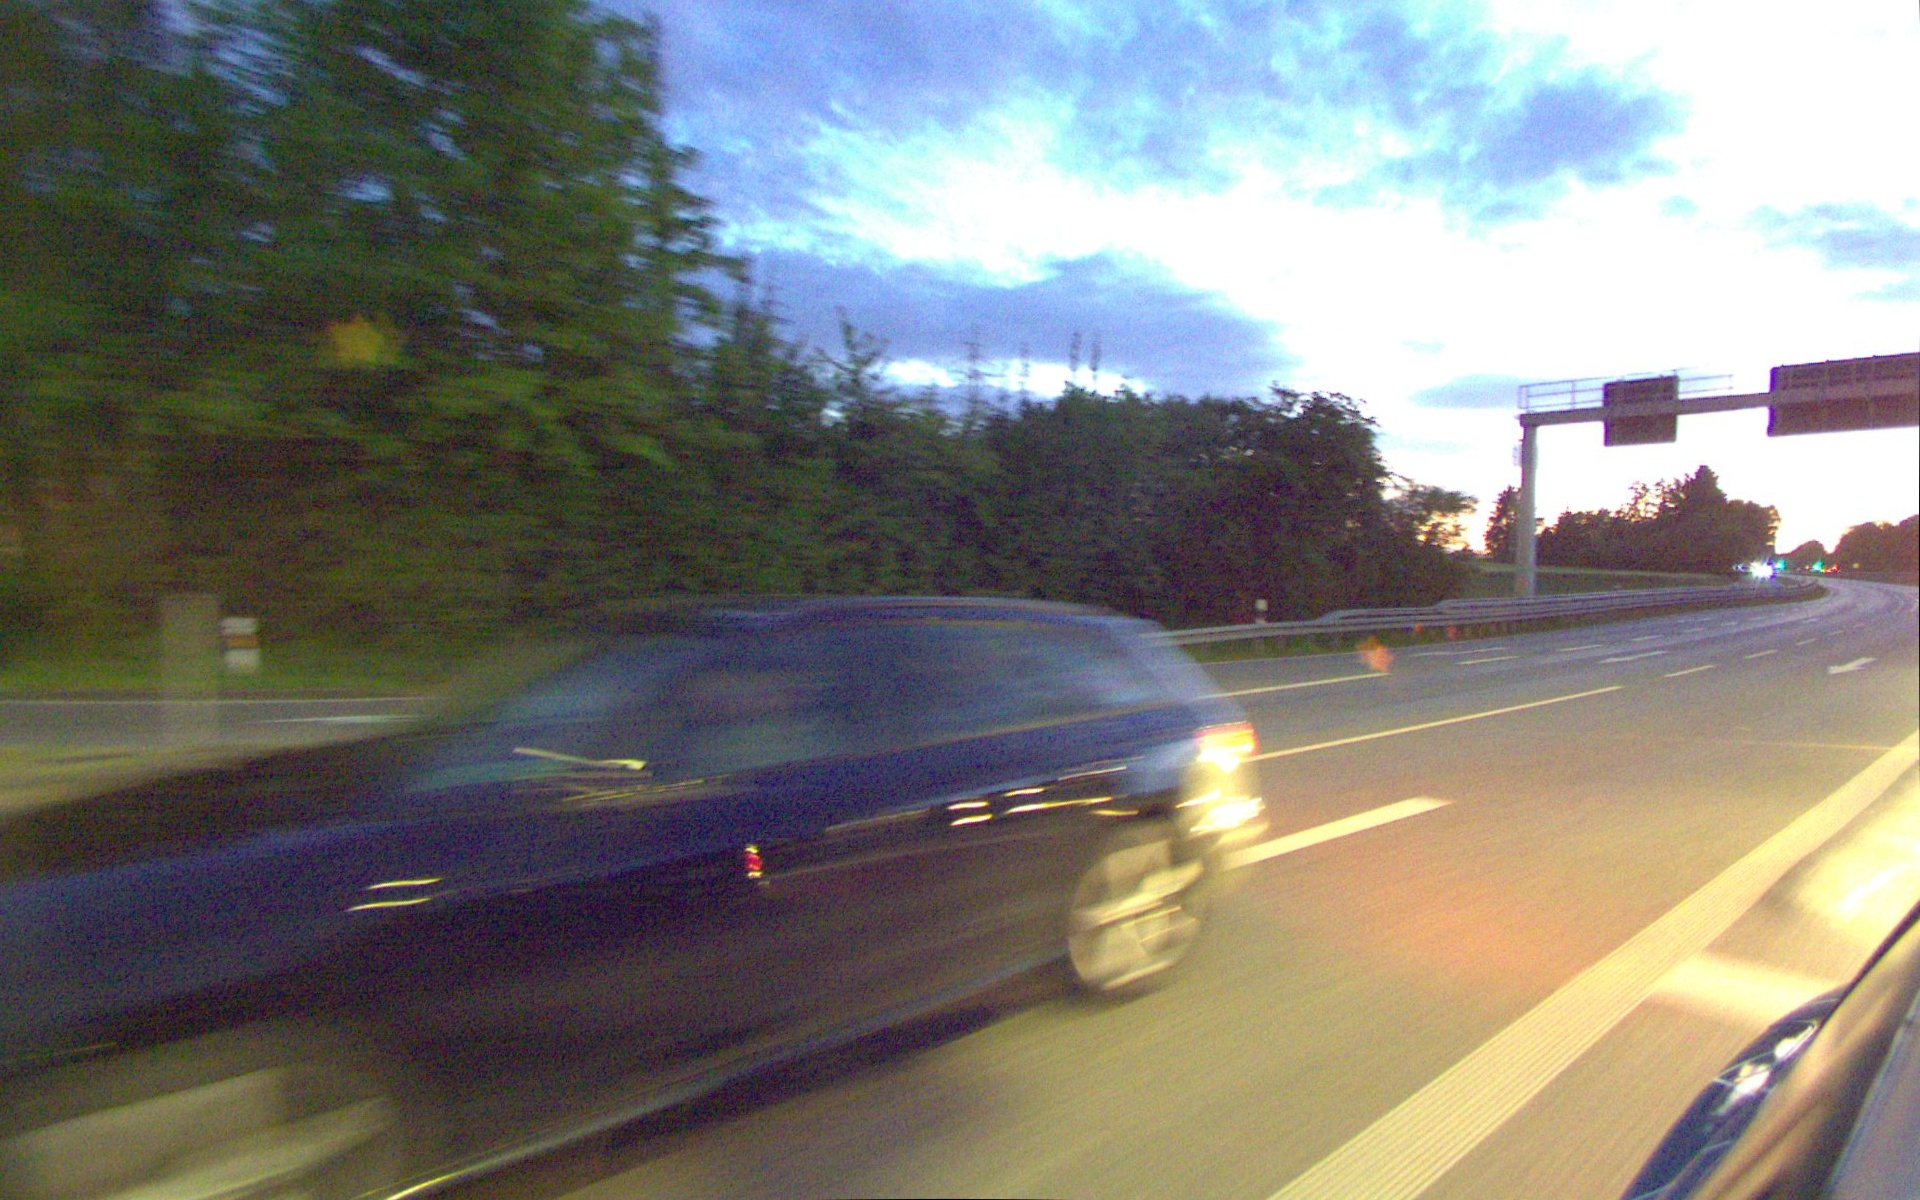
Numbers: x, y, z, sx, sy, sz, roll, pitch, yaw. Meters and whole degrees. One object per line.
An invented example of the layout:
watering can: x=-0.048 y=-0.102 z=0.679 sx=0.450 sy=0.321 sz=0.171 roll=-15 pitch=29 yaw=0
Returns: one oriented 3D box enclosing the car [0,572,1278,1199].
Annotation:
car: x=-0.958 y=0.658 z=3.425 sx=4.454 sy=1.461 sz=1.793 roll=-1 pitch=0 yaw=-41
